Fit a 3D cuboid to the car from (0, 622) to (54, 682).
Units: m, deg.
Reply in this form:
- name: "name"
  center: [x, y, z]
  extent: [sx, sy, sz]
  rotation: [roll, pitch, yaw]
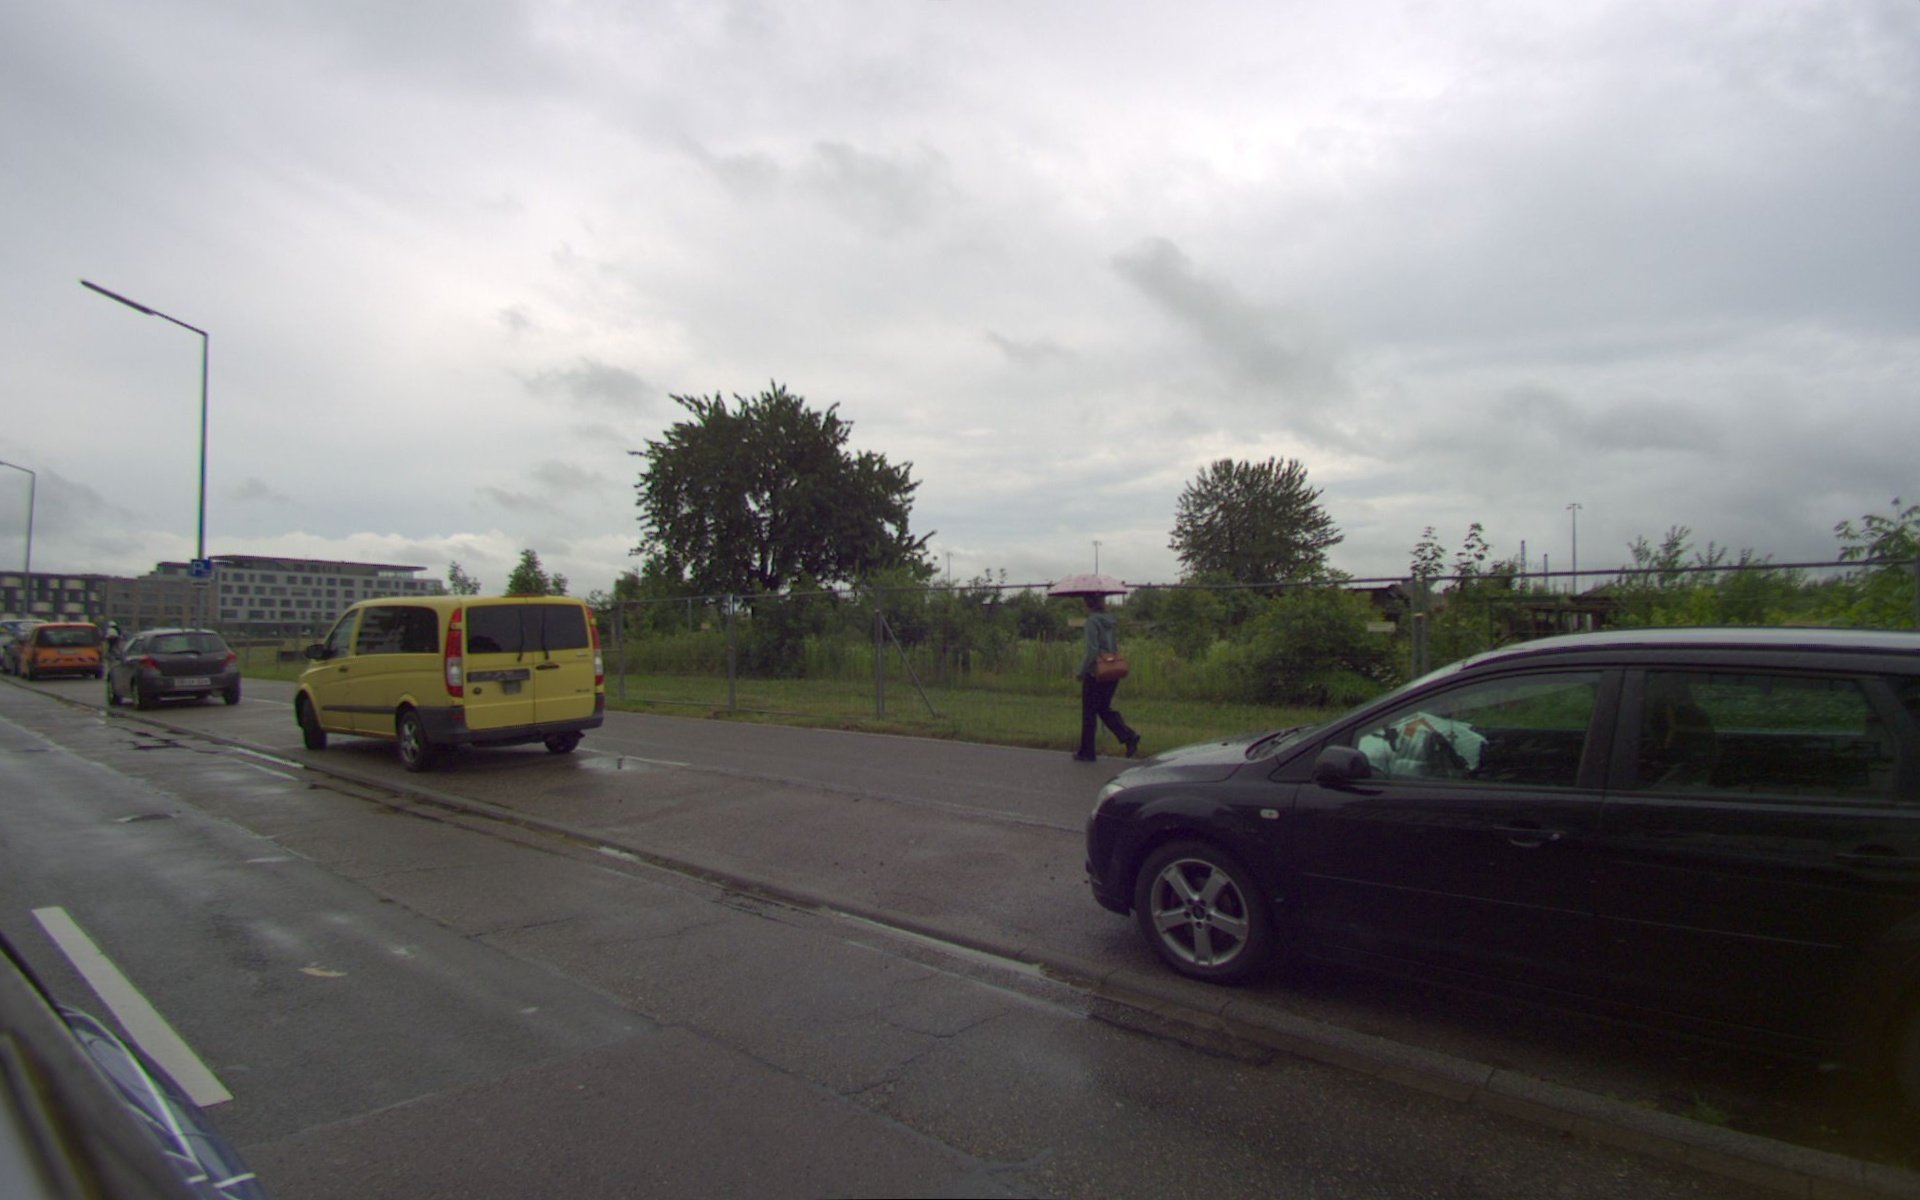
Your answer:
- name: "car"
  center: [-37.785, 2.065, 40.211]
  extent: [5.554, 2.253, 1.922]
  rotation: [-2, -3, 41]

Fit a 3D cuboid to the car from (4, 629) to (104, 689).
- name: "car"
  center: [-28.640, 1.814, 31.938]
  extent: [4.331, 1.781, 1.919]
  rotation: [-2, -3, 43]

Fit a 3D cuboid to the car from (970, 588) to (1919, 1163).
- name: "car"
  center: [2.604, 0.784, 4.211]
  extent: [5.013, 1.606, 1.973]
  rotation: [-1, 0, 40]

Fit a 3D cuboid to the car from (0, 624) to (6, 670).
- name: "car"
  center: [-45.992, 2.212, 47.033]
  extent: [5.272, 2.074, 1.939]
  rotation: [-2, -2, 42]

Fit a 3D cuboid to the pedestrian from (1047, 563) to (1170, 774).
- name: "pedestrian"
  center: [1.514, 0.671, 10.333]
  extent: [0.980, 2.029, 0.734]
  rotation: [-2, -2, 42]

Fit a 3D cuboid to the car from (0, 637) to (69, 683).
- name: "car"
  center: [-33.141, 2.082, 35.884]
  extent: [4.889, 1.513, 1.666]
  rotation: [-2, -3, 41]

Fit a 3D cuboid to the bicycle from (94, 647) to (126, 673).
- name: "bicycle"
  center: [-35.857, 2.513, 42.668]
  extent: [2.143, 1.050, 0.709]
  rotation: [-2, -3, 41]

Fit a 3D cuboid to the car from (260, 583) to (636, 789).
- name: "car"
  center: [-6.529, 0.881, 12.446]
  extent: [6.061, 1.971, 1.996]
  rotation: [-2, -1, 41]

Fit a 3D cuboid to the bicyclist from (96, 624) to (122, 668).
- name: "bicyclist"
  center: [-35.866, 1.935, 42.651]
  extent: [1.008, 1.844, 0.691]
  rotation: [-3, -3, 41]

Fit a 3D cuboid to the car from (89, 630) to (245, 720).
- name: "car"
  center: [-16.213, 1.461, 20.632]
  extent: [4.031, 1.573, 1.785]
  rotation: [-2, -1, 41]
